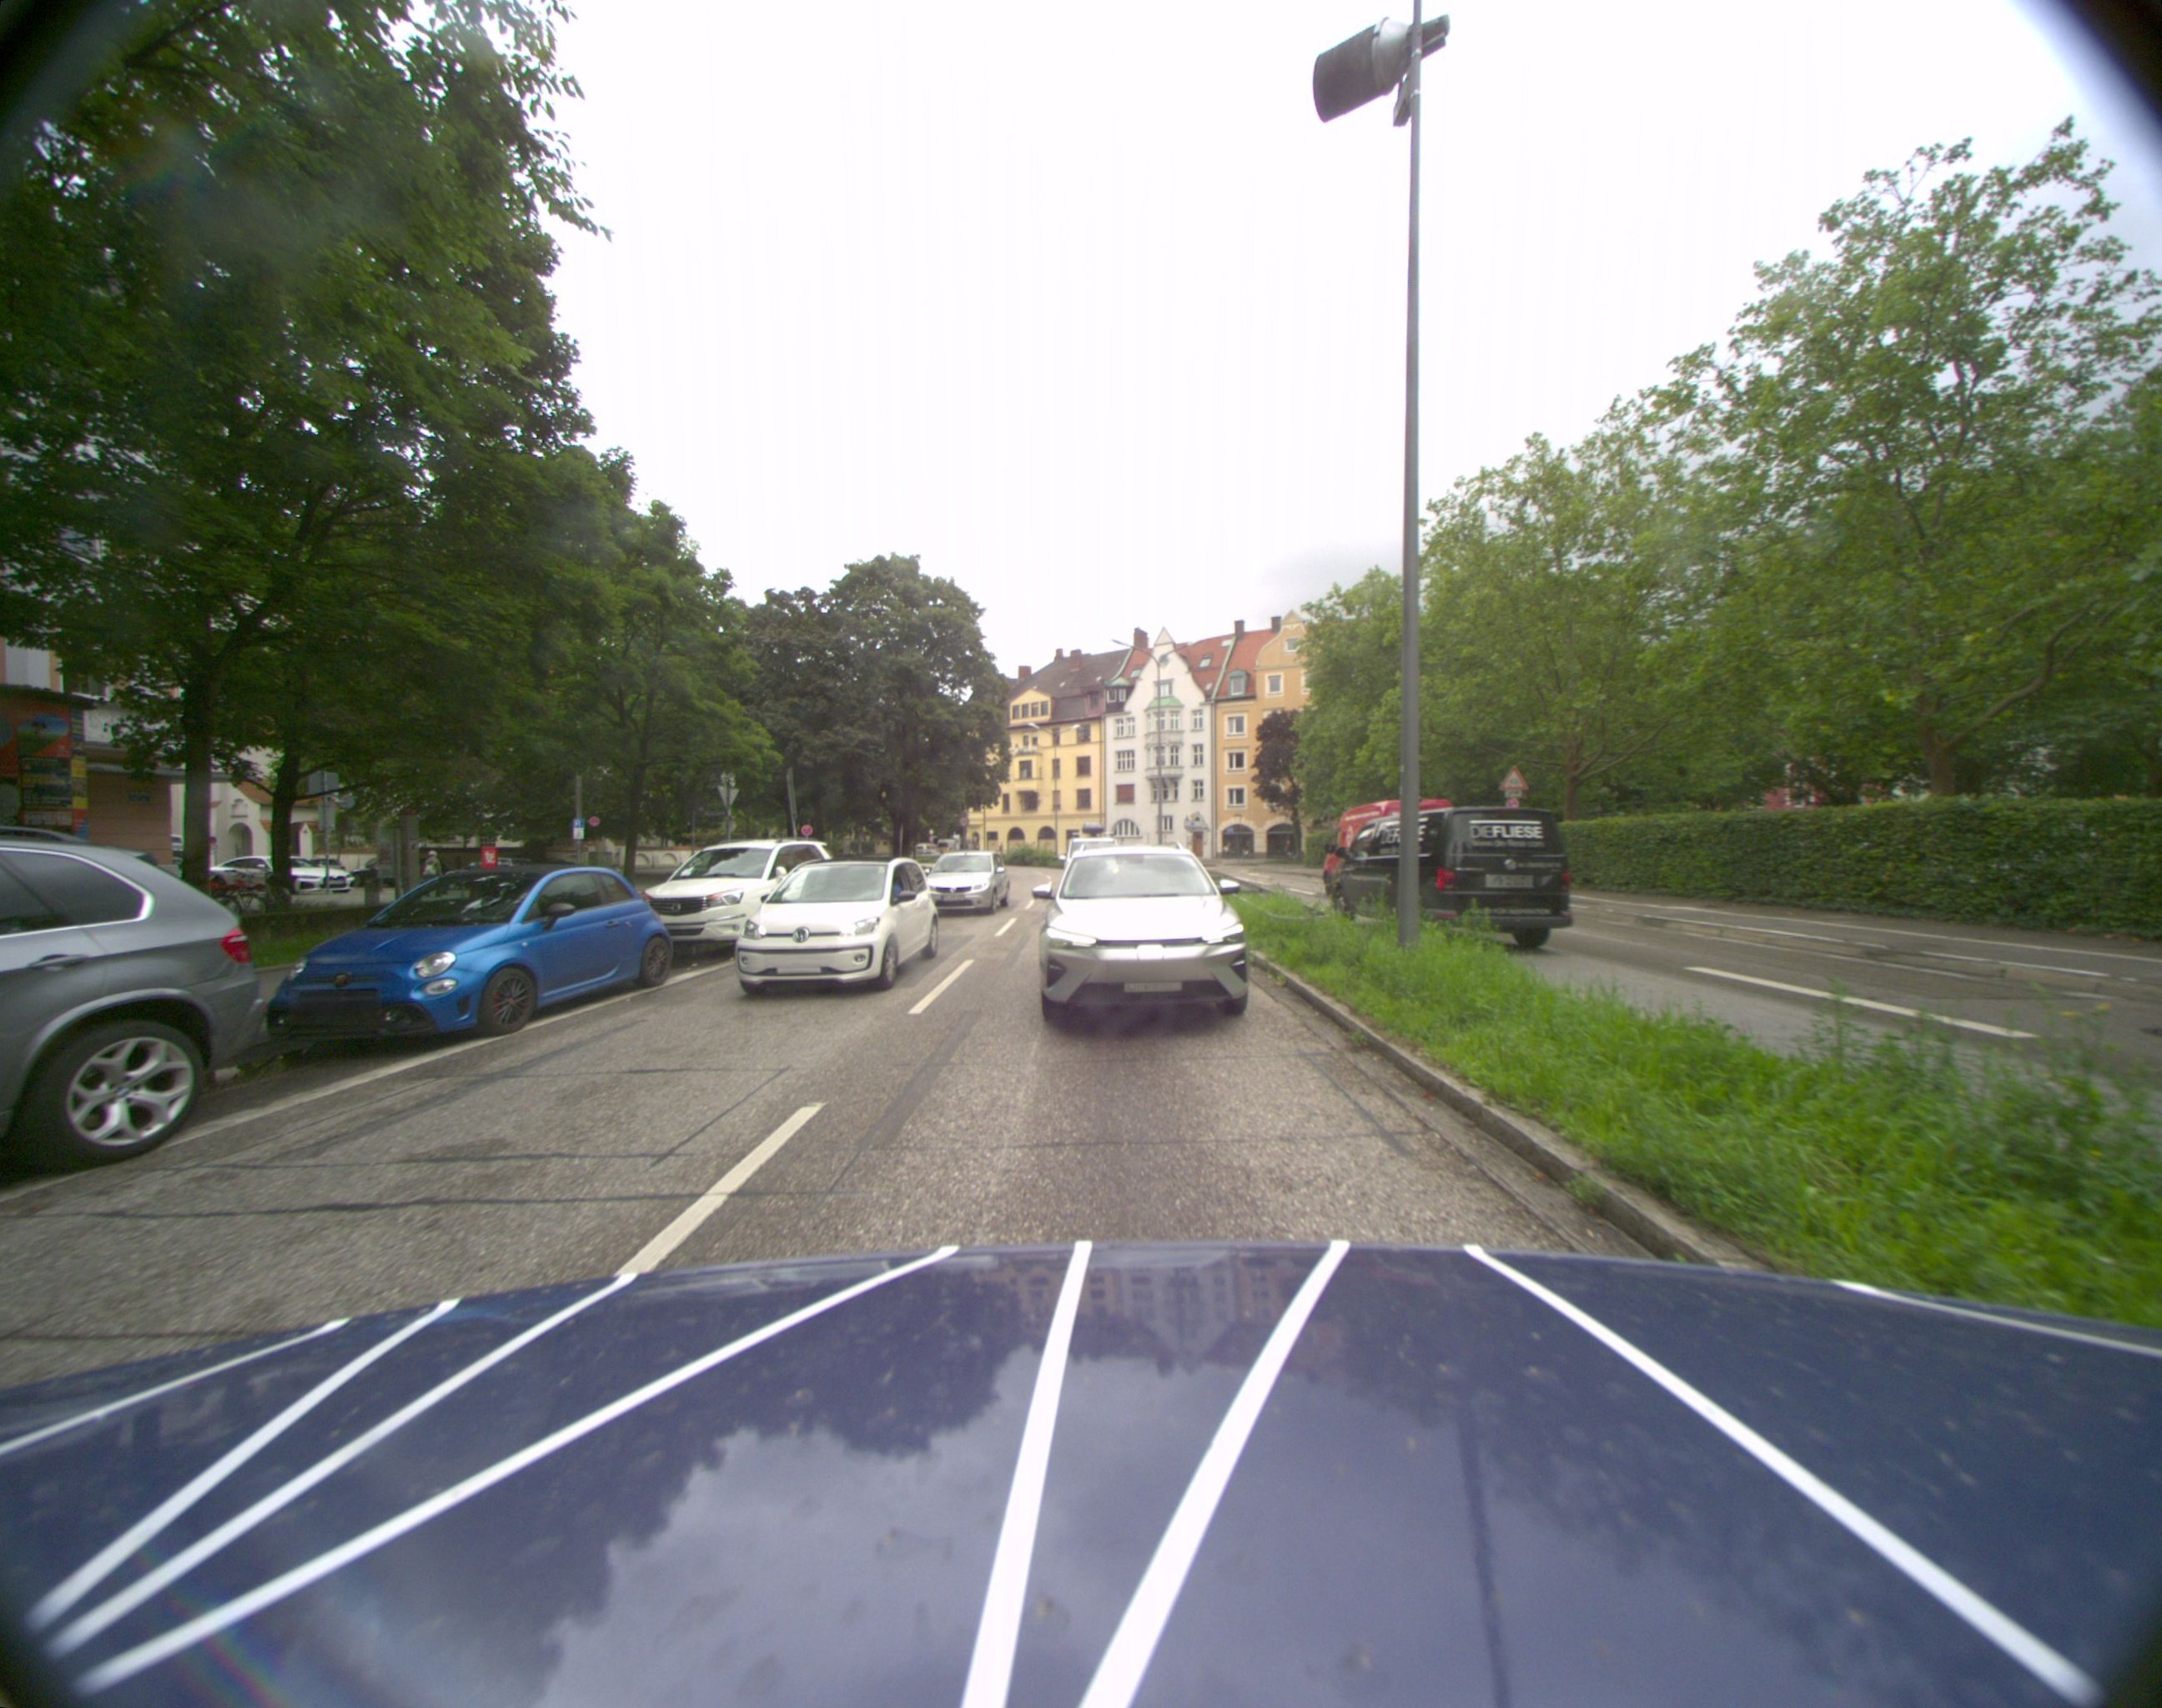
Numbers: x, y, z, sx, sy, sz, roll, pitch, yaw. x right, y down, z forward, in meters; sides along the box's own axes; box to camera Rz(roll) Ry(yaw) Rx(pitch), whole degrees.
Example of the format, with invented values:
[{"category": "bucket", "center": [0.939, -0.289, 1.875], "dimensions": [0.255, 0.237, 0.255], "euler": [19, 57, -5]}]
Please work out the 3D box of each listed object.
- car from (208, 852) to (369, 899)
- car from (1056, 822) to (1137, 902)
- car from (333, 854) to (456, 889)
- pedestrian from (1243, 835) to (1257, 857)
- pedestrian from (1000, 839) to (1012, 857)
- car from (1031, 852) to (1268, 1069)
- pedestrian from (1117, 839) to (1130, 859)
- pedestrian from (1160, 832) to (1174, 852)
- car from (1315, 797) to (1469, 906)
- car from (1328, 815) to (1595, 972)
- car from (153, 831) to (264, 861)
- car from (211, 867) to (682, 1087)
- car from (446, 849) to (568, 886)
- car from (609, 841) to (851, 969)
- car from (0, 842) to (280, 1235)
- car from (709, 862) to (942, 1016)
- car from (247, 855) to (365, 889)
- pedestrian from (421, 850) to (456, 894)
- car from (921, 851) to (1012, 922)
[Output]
[{"category": "car", "center": [-28.871, 0.770, 27.732], "dimensions": [4.436, 1.458, 1.862], "euler": [-2, 2, 10]}, {"category": "car", "center": [0.617, 0.205, 24.656], "dimensions": [1.911, 2.337, 4.948], "euler": [0, 1, 10]}, {"category": "car", "center": [-32.053, 0.807, 35.539], "dimensions": [4.436, 1.458, 1.862], "euler": [-2, 2, 10]}, {"category": "pedestrian", "center": [16.258, -0.780, 73.250], "dimensions": [1.005, 2.002, 0.880], "euler": [-1, 2, 32]}, {"category": "pedestrian", "center": [-8.792, -0.731, 88.891], "dimensions": [1.005, 2.002, 0.880], "euler": [-1, 2, 32]}, {"category": "car", "center": [0.505, 0.767, 7.446], "dimensions": [1.710, 1.521, 3.886], "euler": [0, 1, 0]}, {"category": "pedestrian", "center": [4.416, -0.534, 79.043], "dimensions": [1.005, 2.002, 0.880], "euler": [-1, 2, 32]}, {"category": "pedestrian", "center": [8.717, -1.203, 77.157], "dimensions": [1.005, 2.002, 0.880], "euler": [-1, 2, 32]}, {"category": "car", "center": [8.293, -0.045, 21.014], "dimensions": [2.108, 2.574, 6.083], "euler": [0, 0, 4]}, {"category": "car", "center": [5.578, 0.476, 11.972], "dimensions": [1.862, 1.979, 4.704], "euler": [0, 1, 0]}, {"category": "car", "center": [-46.740, -0.444, 40.731], "dimensions": [4.436, 1.458, 1.862], "euler": [-2, 2, 11]}, {"category": "car", "center": [-5.734, 0.962, 7.544], "dimensions": [1.523, 1.540, 3.662], "euler": [0, 1, 1]}, {"category": "car", "center": [-26.121, 0.614, 34.623], "dimensions": [4.436, 1.458, 1.862], "euler": [-2, 2, 10]}, {"category": "car", "center": [-5.833, 0.707, 13.487], "dimensions": [1.848, 1.845, 5.023], "euler": [0, 1, 1]}, {"category": "car", "center": [-5.892, 0.869, 2.431], "dimensions": [1.937, 1.809, 4.552], "euler": [0, 1, -3]}, {"category": "car", "center": [-2.902, 0.877, 9.452], "dimensions": [1.648, 1.457, 3.619], "euler": [0, 1, 0]}, {"category": "car", "center": [-38.300, 0.895, 37.600], "dimensions": [4.436, 1.458, 1.862], "euler": [-2, 2, 10]}, {"category": "pedestrian", "center": [-22.777, 0.632, 26.934], "dimensions": [0.602, 1.543, 0.644], "euler": [-2, 2, 7]}, {"category": "car", "center": [-2.711, 0.724, 18.813], "dimensions": [1.648, 1.521, 3.886], "euler": [0, 1, 0]}]
